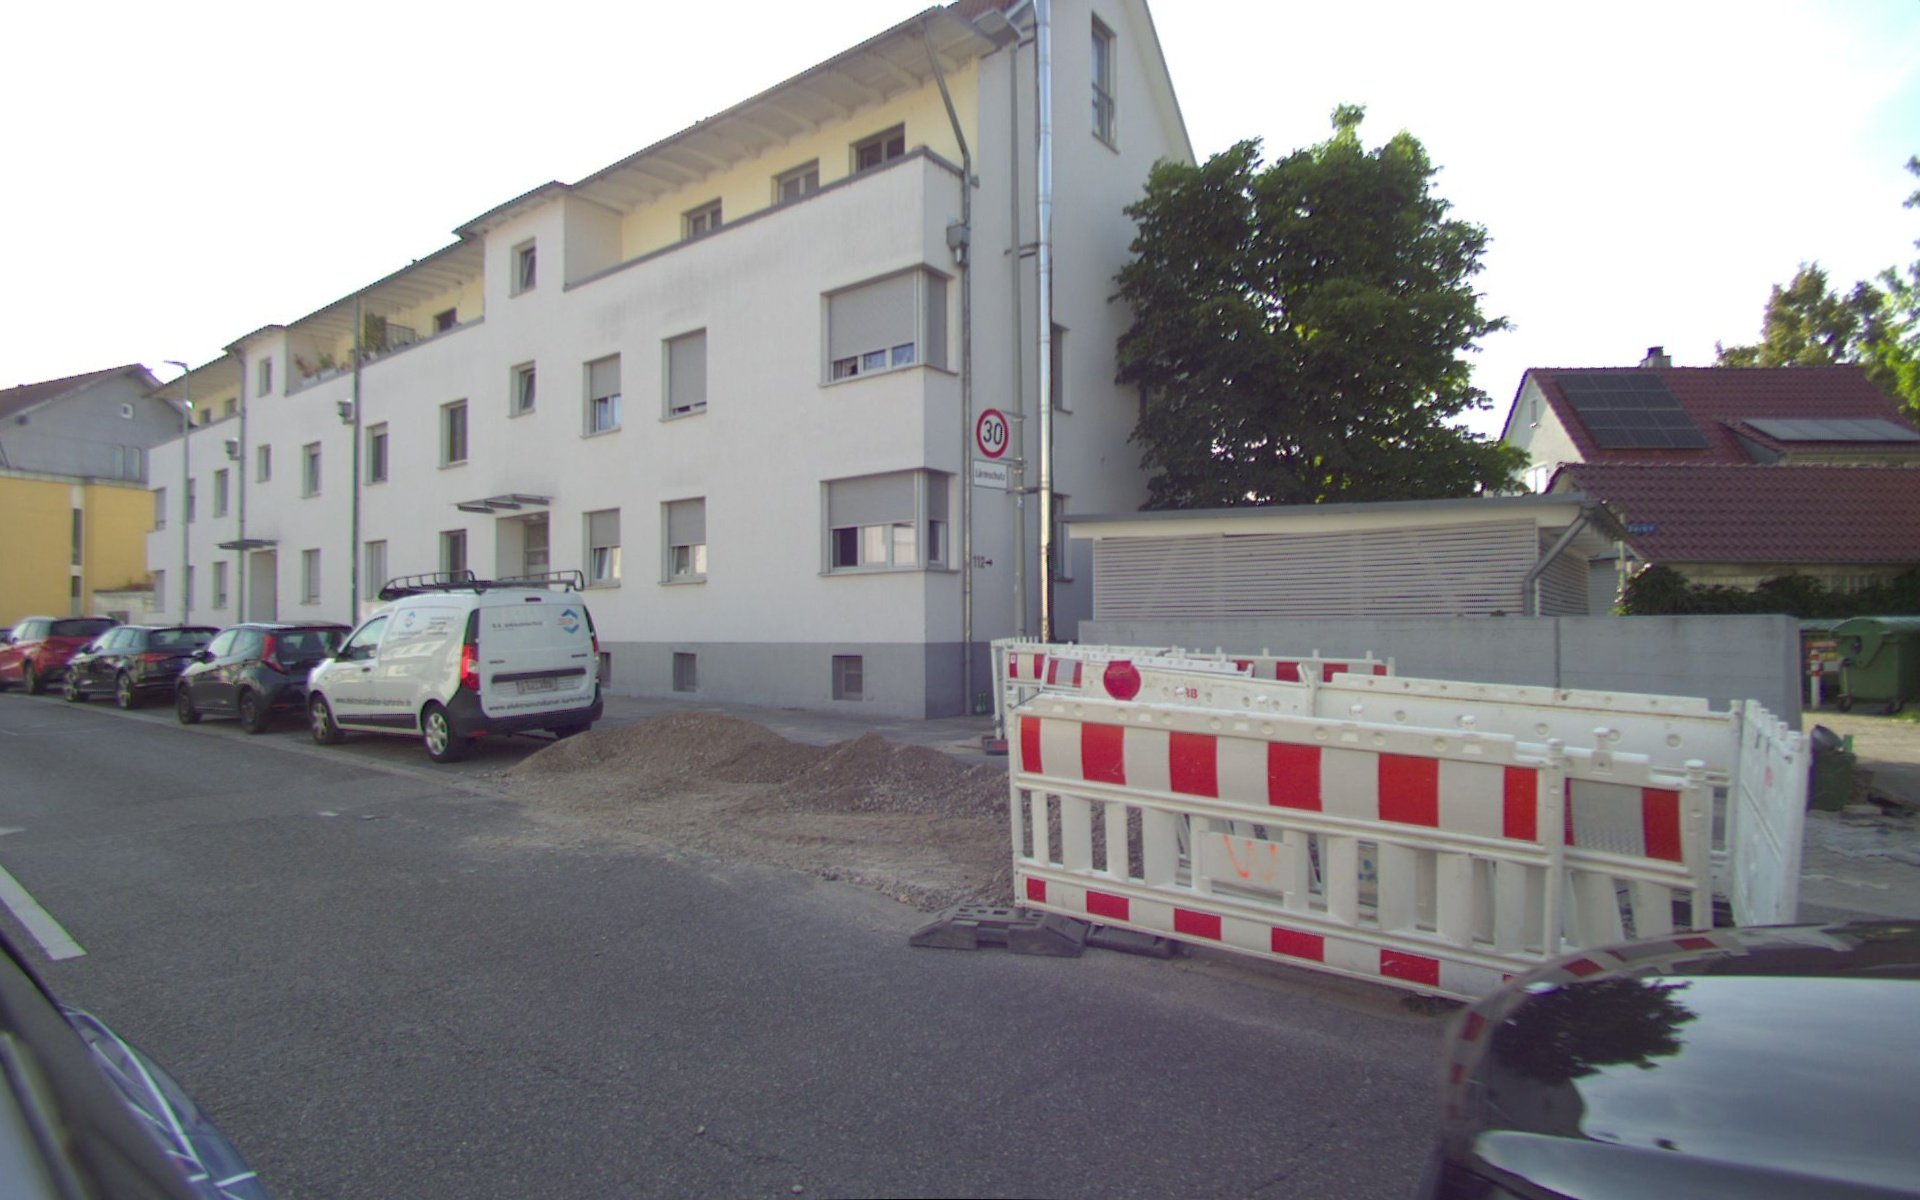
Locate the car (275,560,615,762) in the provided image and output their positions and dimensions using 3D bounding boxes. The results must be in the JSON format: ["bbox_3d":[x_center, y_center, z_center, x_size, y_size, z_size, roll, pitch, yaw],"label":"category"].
[{"bbox_3d":[-6.141,0.655,11.869,4.429,1.975,1.712,-2,-1,36],"label":"car"}]

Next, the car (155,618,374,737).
[{"bbox_3d":[-9.957,1.034,14.420,3.506,1.476,1.480,-2,-1,36],"label":"car"}]

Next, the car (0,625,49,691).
[{"bbox_3d":[-23.845,1.383,24.341,4.487,1.489,1.714,-2,0,32],"label":"car"}]

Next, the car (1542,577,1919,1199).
[{"bbox_3d":[2.793,0.675,0.397,4.205,1.431,1.811,-2,-2,39],"label":"car"}]

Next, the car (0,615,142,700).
[{"bbox_3d":[-19.425,1.188,21.690,4.250,1.634,1.713,-1,-1,33],"label":"car"}]

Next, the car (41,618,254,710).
[{"bbox_3d":[-14.752,1.105,18.320,4.249,1.489,1.714,-2,-2,32],"label":"car"}]

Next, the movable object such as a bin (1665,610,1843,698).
[{"bbox_3d":[13.792,0.916,17.650,1.970,1.430,1.417,0,0,-3],"label":"movable object such as a bin"}]

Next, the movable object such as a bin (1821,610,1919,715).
[{"bbox_3d":[14.149,0.893,15.013,1.601,1.458,1.322,0,0,-3],"label":"movable object such as a bin"}]
